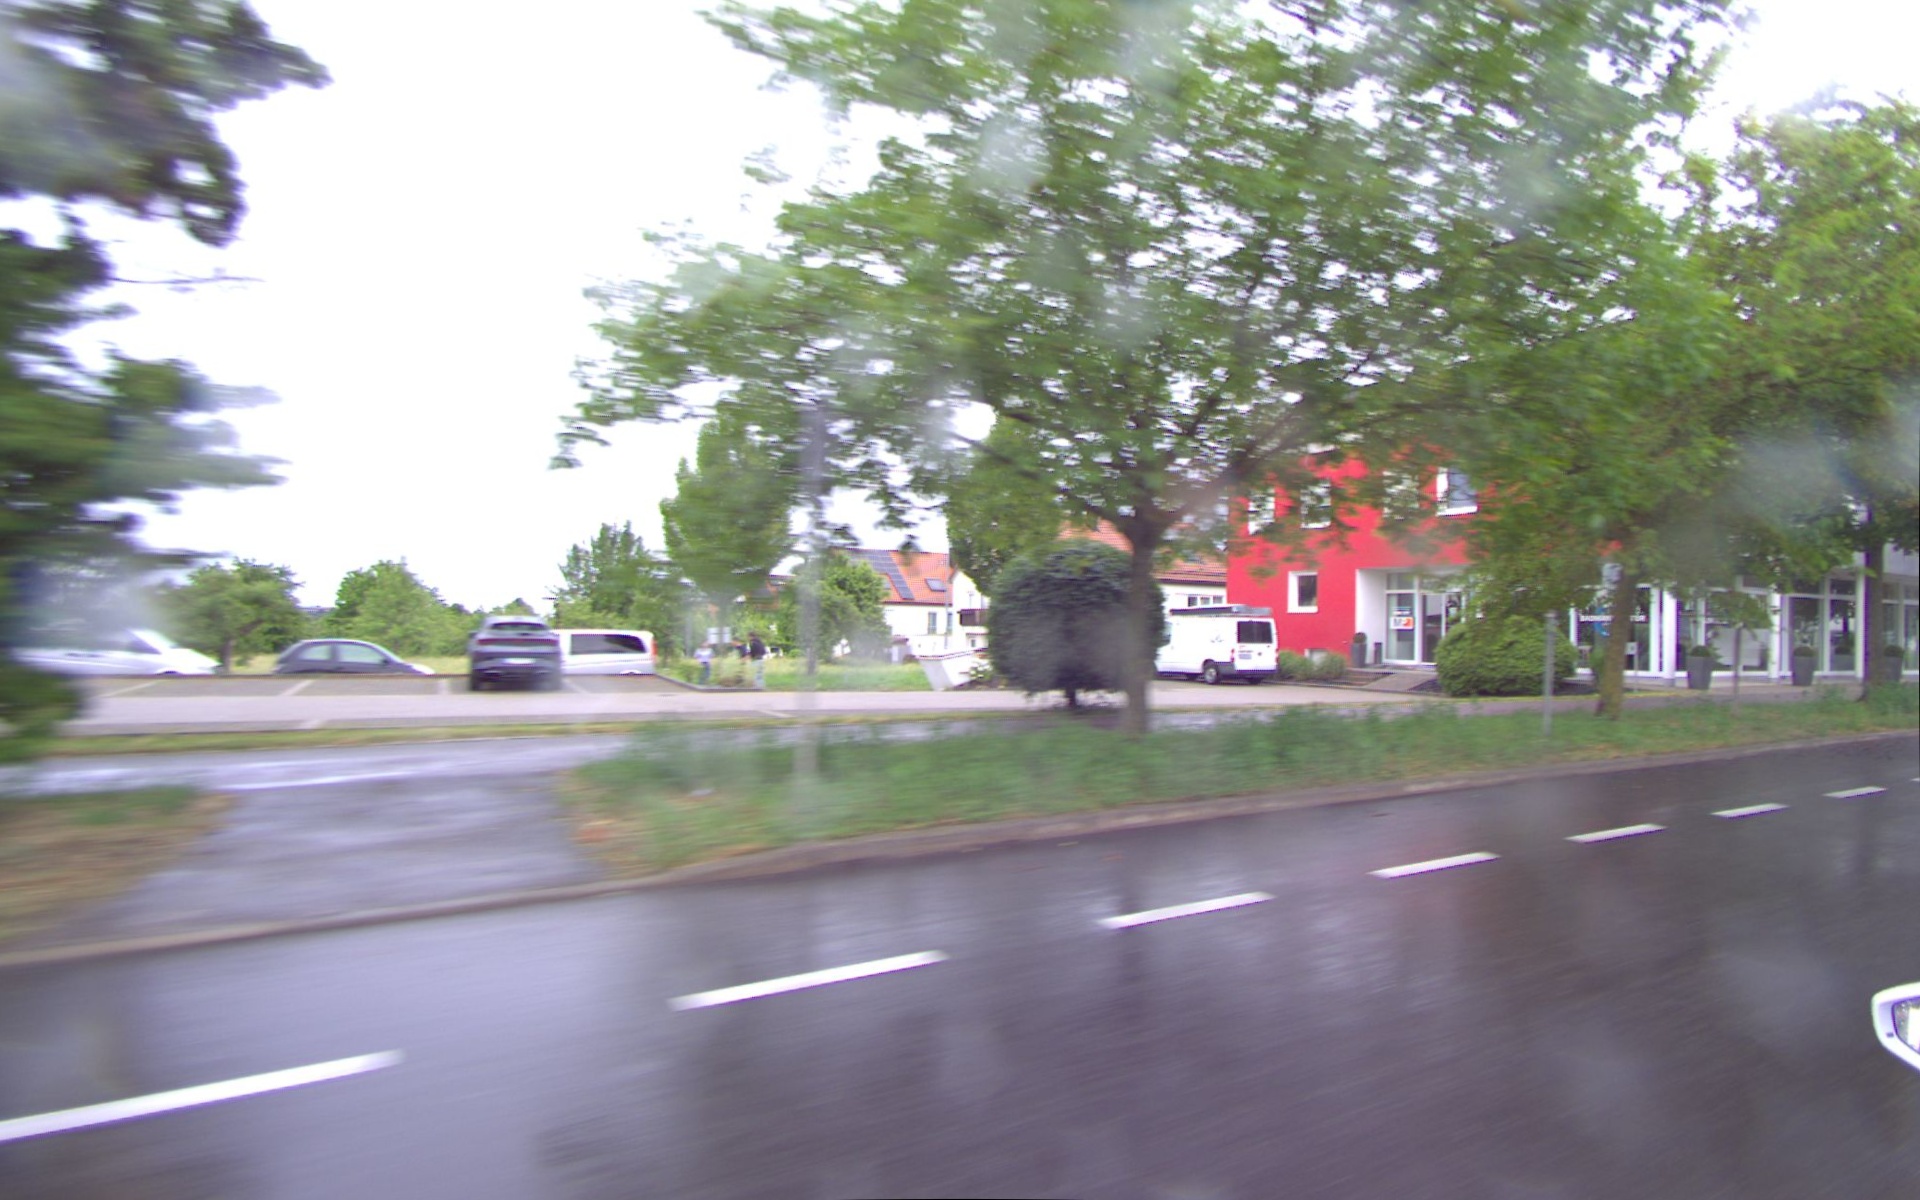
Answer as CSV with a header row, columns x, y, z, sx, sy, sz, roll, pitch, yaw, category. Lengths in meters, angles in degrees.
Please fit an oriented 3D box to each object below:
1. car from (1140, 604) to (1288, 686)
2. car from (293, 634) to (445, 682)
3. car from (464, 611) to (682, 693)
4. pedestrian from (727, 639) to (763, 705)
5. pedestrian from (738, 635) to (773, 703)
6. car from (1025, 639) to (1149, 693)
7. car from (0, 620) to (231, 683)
x,y,z,sx,sy,sz,roll,pitch,yaw,category
7.880,1.335,31.617,2.156,2.341,4.462,0,0,-26,car
-14.427,1.394,24.651,3.135,1.038,1.347,1,0,-30,car
-8.233,1.100,21.414,4.112,1.577,2.107,2,-1,-26,car
-6.319,2.097,29.527,0.672,1.861,0.764,1,0,30,pedestrian
-5.764,1.936,28.358,0.758,1.861,0.677,0,0,-36,pedestrian
3.512,1.794,28.168,1.687,1.261,3.380,1,0,-33,car
-19.116,1.098,22.227,4.602,1.246,1.972,1,0,-30,car
